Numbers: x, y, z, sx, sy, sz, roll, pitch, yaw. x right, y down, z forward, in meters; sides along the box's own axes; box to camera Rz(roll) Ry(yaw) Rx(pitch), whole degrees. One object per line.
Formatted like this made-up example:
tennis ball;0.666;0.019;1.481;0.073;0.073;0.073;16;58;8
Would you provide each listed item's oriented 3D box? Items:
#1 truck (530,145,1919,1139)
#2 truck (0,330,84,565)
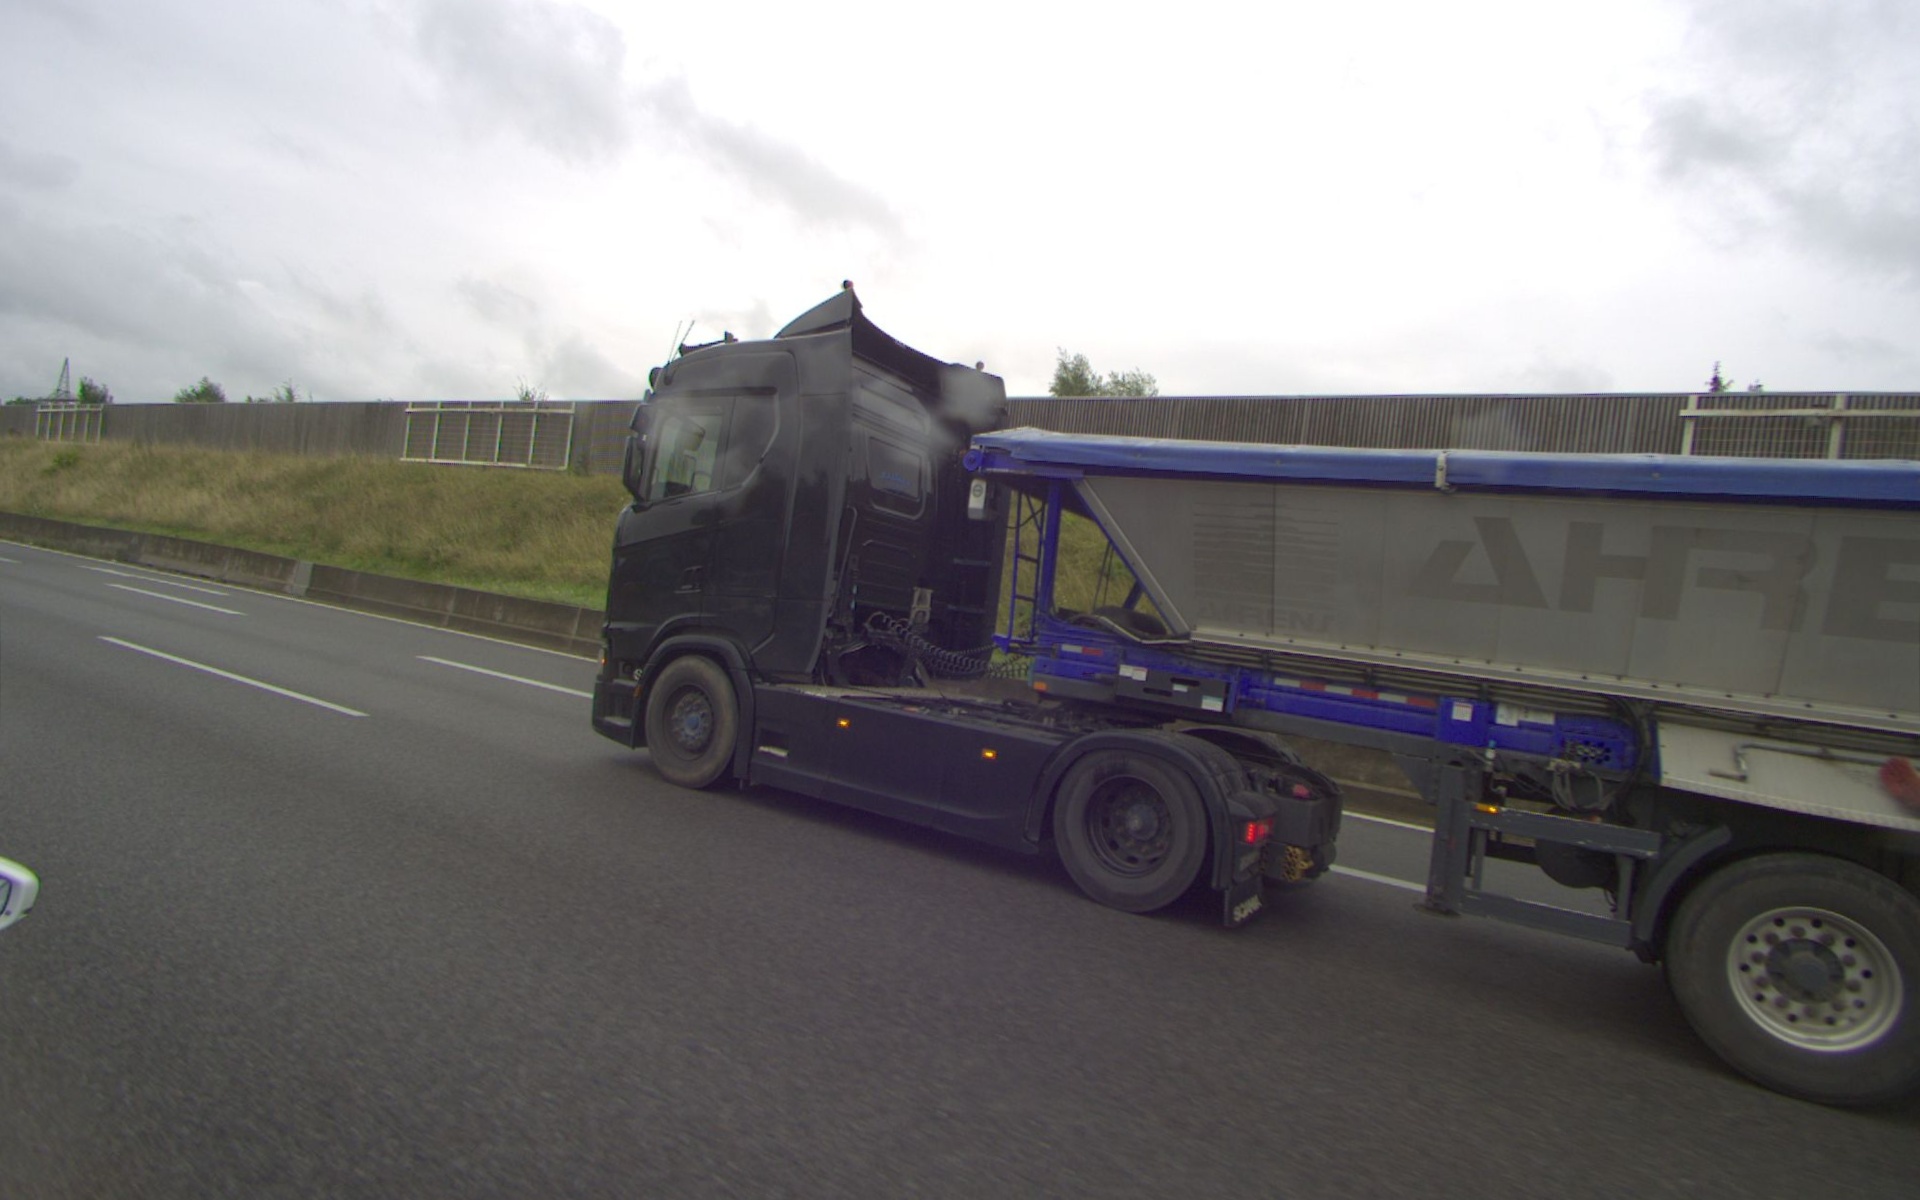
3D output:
truck;2.594;0.022;6.493;12.502;3.997;2.817;7;-1;31
truck;-27.582;-4.230;25.976;11.035;5.326;4.005;7;-2;32
